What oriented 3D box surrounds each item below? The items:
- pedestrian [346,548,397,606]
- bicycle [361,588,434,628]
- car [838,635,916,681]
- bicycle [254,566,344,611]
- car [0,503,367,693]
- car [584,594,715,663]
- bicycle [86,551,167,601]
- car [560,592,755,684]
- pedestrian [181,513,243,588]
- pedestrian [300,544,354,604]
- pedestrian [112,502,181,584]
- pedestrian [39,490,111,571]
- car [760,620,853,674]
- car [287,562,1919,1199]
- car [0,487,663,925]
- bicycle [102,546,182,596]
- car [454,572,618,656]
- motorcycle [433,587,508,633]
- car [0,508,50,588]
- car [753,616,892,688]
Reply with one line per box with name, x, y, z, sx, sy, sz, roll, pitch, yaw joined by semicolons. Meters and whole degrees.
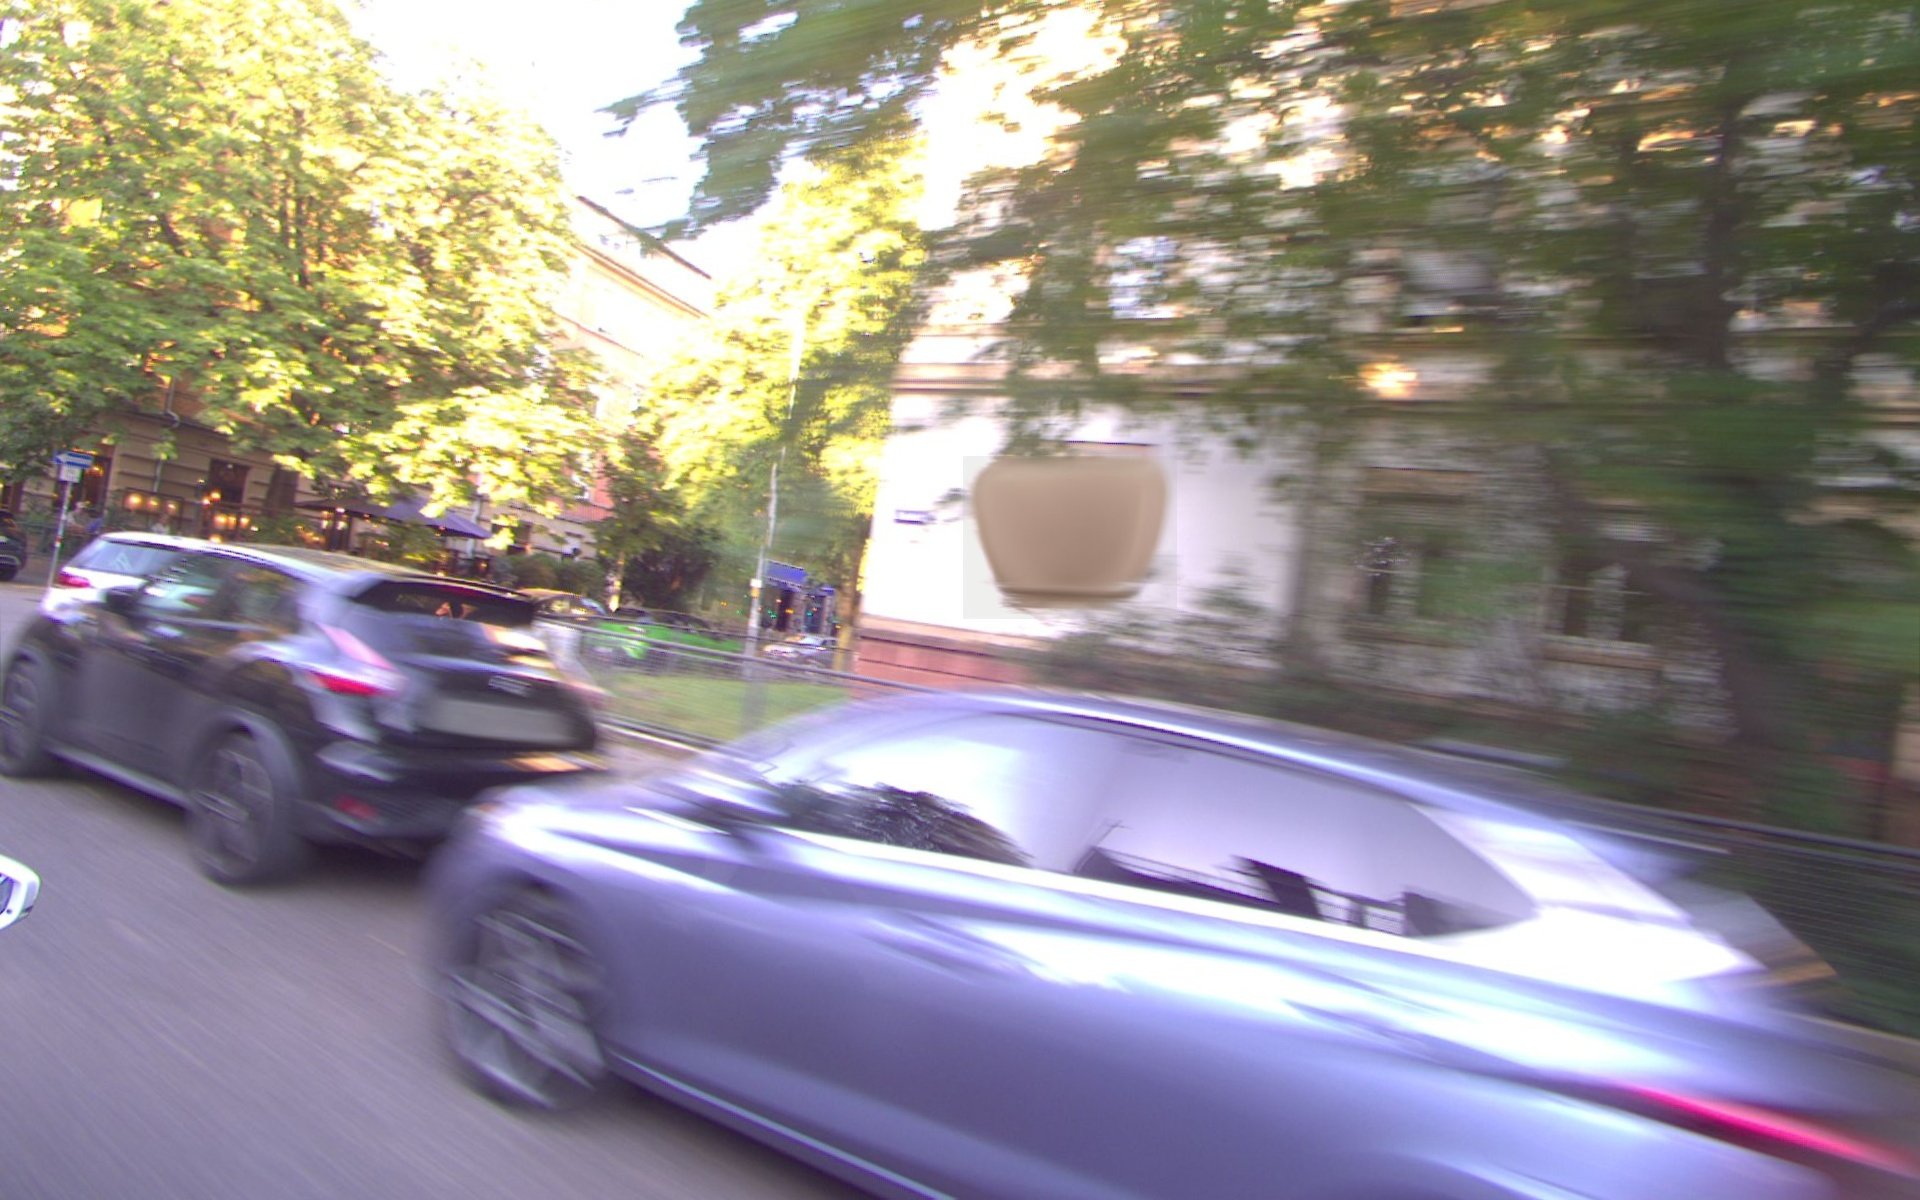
pedestrian;-16.992;-0.657;29.066;0.747;1.498;0.776;8;-1;21
bicycle;-15.463;0.243;27.710;0.393;0.894;1.883;8;-2;18
car;-3.597;2.578;44.162;1.598;1.570;3.772;7;-4;25
bicycle;-16.639;-0.274;25.392;0.393;0.894;1.977;8;-2;18
car;-8.489;0.030;11.379;1.854;1.482;3.963;10;-3;-14
car;-9.506;0.919;31.071;1.598;1.570;3.772;7;-4;25
bicycle;-19.076;-0.547;23.044;1.343;0.924;0.319;10;-1;-11
car;-6.552;0.910;22.258;1.848;1.545;3.975;4;-5;25
pedestrian;-20.105;-1.314;27.040;0.827;1.824;0.777;8;-1;17
pedestrian;-17.509;-0.722;27.844;0.747;1.498;0.776;8;-1;21
pedestrian;-20.044;-1.404;24.805;0.827;1.824;0.777;8;-1;17
pedestrian;-22.154;-1.734;25.196;0.761;1.824;0.844;9;-1;11
car;-5.913;1.865;39.204;1.598;1.570;3.772;7;-4;25
car;0.107;0.933;3.105;4.138;1.493;1.701;7;-3;27
car;-3.802;0.403;5.726;3.905;1.588;1.699;7;-3;31
bicycle;-19.031;-0.673;23.418;1.343;0.924;0.319;10;-1;-11
car;-11.331;0.432;27.131;1.598;1.623;3.772;10;-3;25
motorcycle;-14.408;0.307;29.635;0.511;1.093;1.834;8;-3;38
car;-21.778;-1.424;21.013;3.823;1.542;1.924;10;-3;8
car;-3.720;1.502;27.946;1.848;1.545;3.975;4;-5;25
